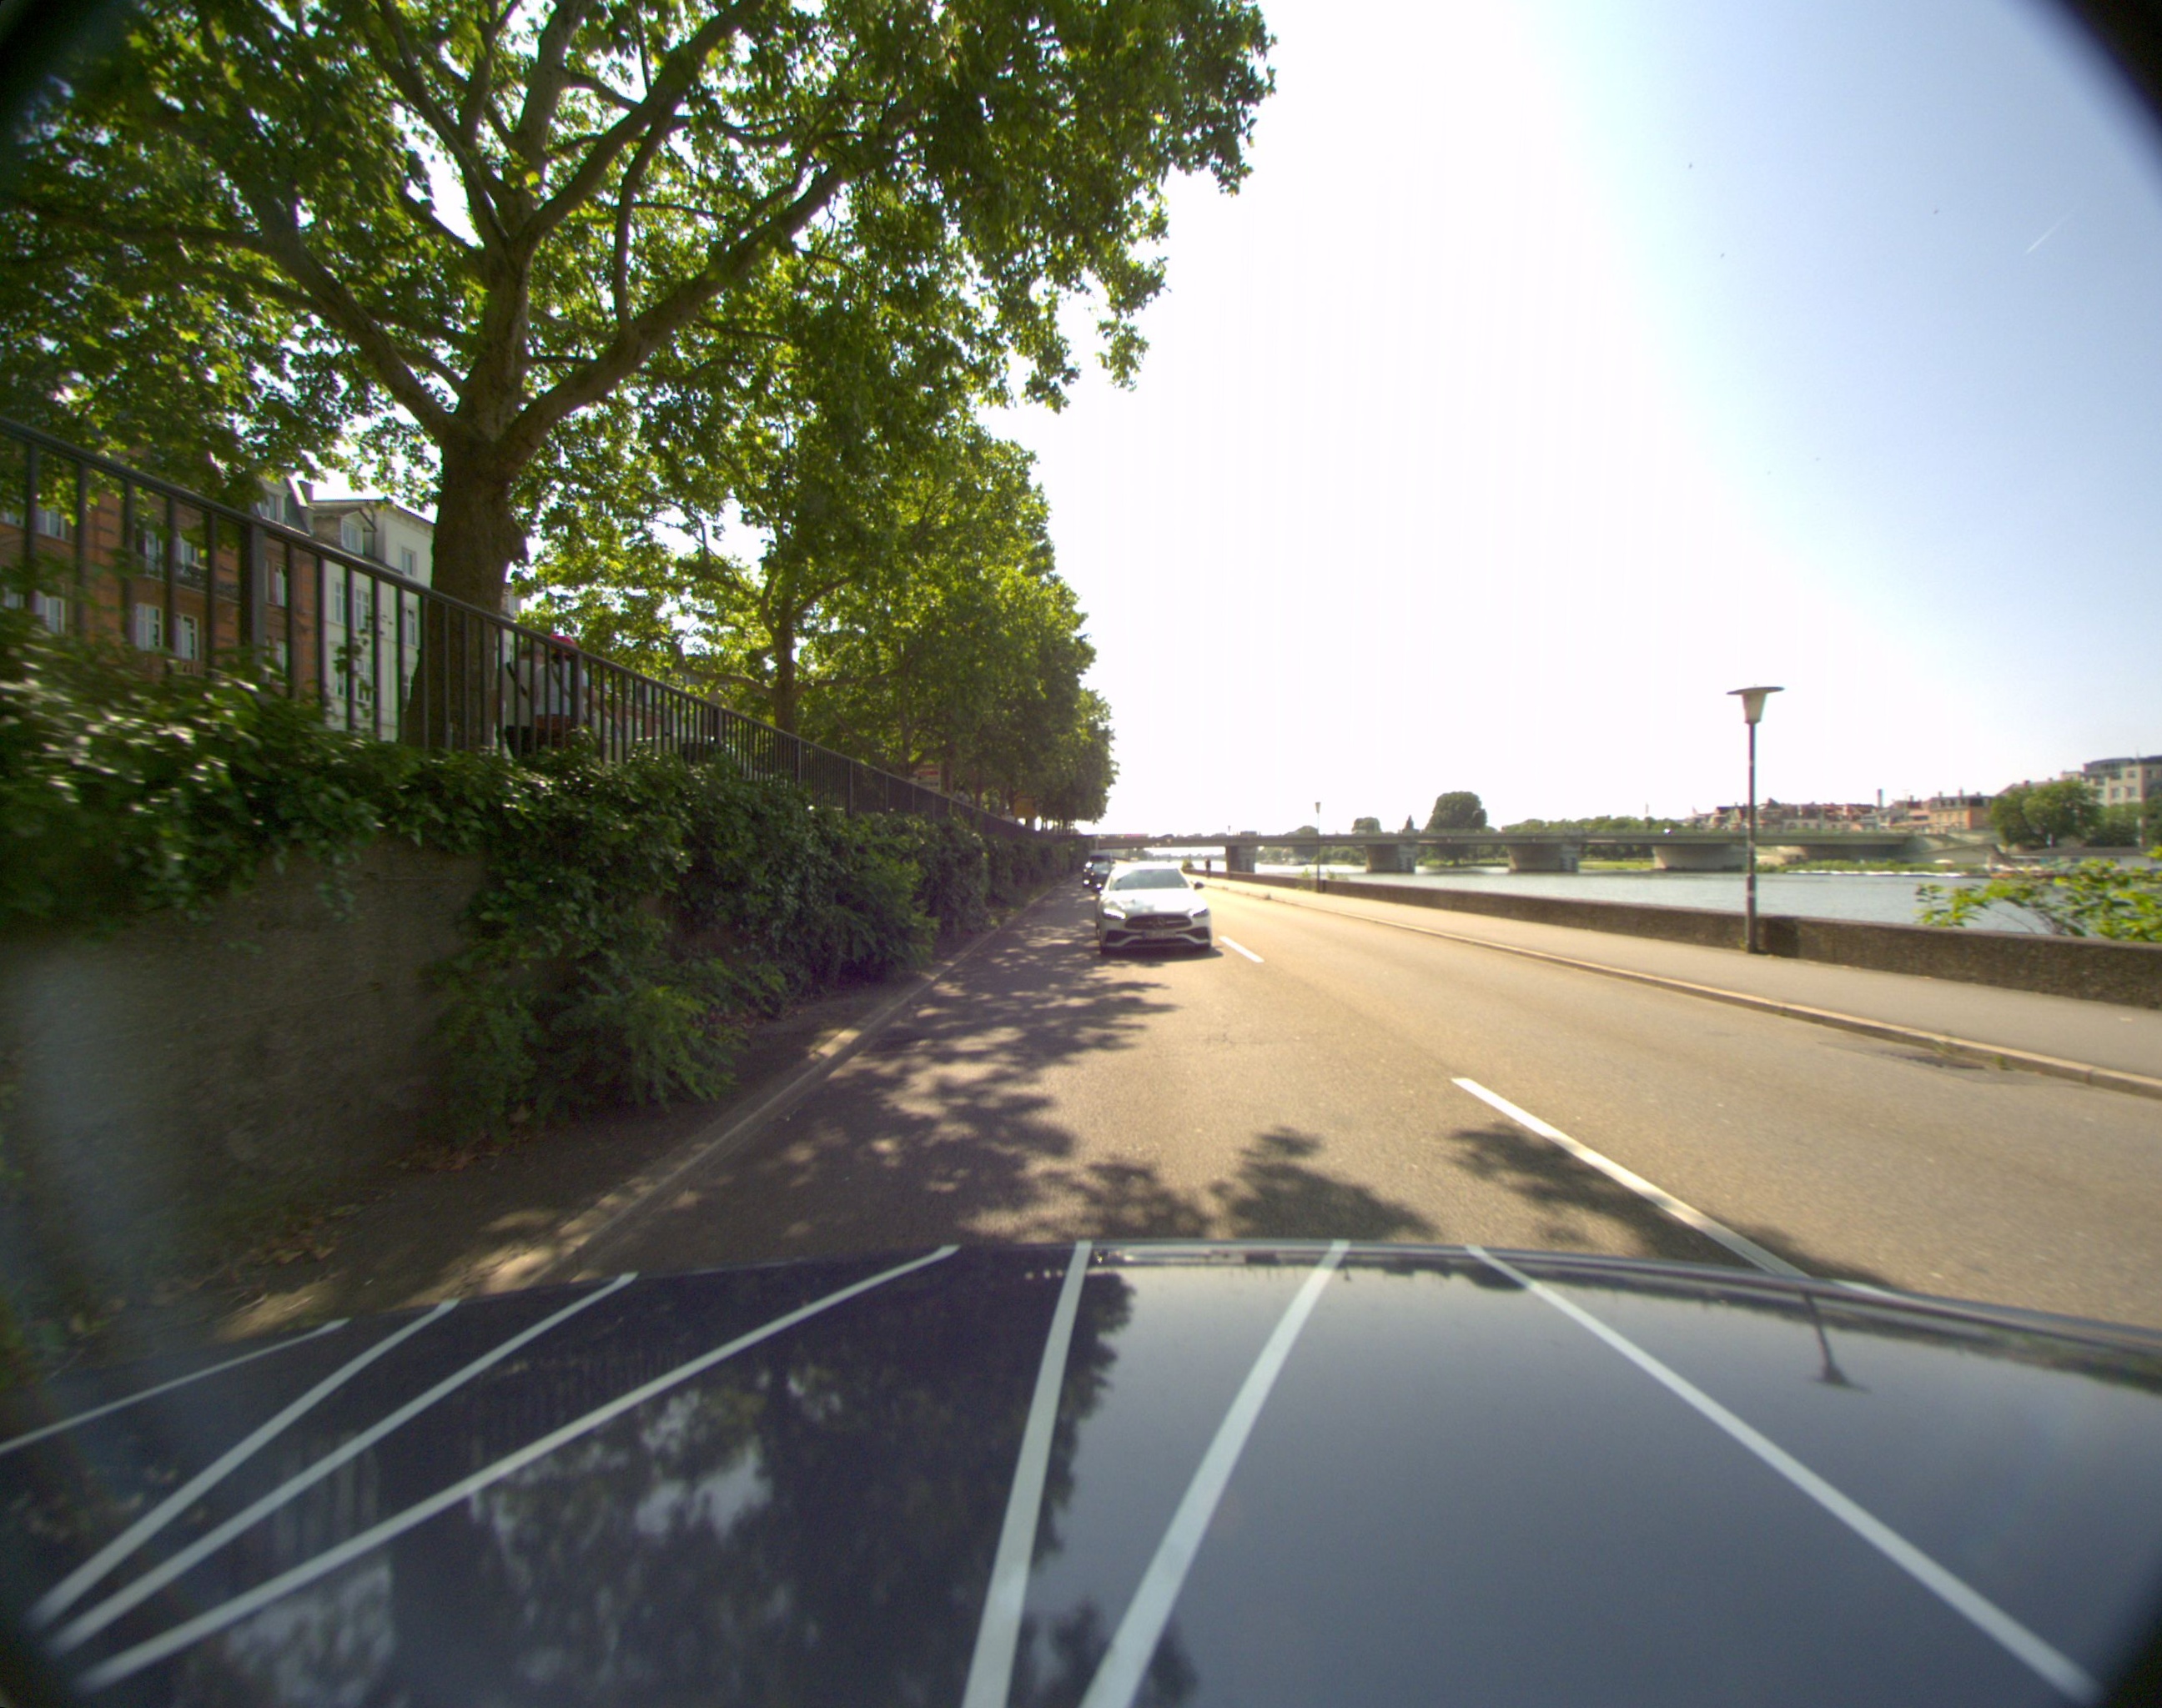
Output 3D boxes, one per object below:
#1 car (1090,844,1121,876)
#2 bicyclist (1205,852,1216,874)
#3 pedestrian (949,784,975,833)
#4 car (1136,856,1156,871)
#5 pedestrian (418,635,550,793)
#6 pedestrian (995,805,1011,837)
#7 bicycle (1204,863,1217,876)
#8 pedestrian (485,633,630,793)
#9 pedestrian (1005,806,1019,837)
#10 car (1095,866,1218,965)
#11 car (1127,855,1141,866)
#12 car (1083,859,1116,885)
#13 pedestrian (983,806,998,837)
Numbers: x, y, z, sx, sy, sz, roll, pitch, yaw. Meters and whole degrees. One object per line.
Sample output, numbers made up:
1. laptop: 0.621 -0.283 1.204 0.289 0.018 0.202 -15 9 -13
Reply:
1. car: 1.950 0.463 61.908 2.351 2.428 6.208 0 0 0
2. bicyclist: 9.957 0.700 58.475 0.663 1.692 0.975 -1 0 1
3. pedestrian: -3.943 -1.496 25.265 0.738 1.582 0.811 0 1 0
4. car: 6.411 0.927 75.185 1.676 1.433 3.901 0 0 0
5. pedestrian: -5.122 -1.175 6.560 0.577 1.236 0.691 0 1 0
6. pedestrian: -3.954 -1.678 38.430 0.738 1.582 0.811 0 1 0
7. bicycle: 9.966 1.162 58.402 0.654 0.977 1.944 -1 0 1
8. pedestrian: -4.463 -1.175 6.529 0.713 1.236 0.742 0 1 0
9. pedestrian: -3.566 -1.684 39.525 0.666 1.582 0.765 0 1 0
10. car: 1.190 0.972 13.870 1.830 1.411 4.552 -1 0 1
11. car: 7.388 0.902 106.323 1.670 1.481 3.726 0 0 0
12. car: 0.987 0.988 43.499 1.756 1.385 4.619 -1 0 0
13. pedestrian: -4.675 -1.658 39.183 0.666 1.582 0.651 0 1 0
